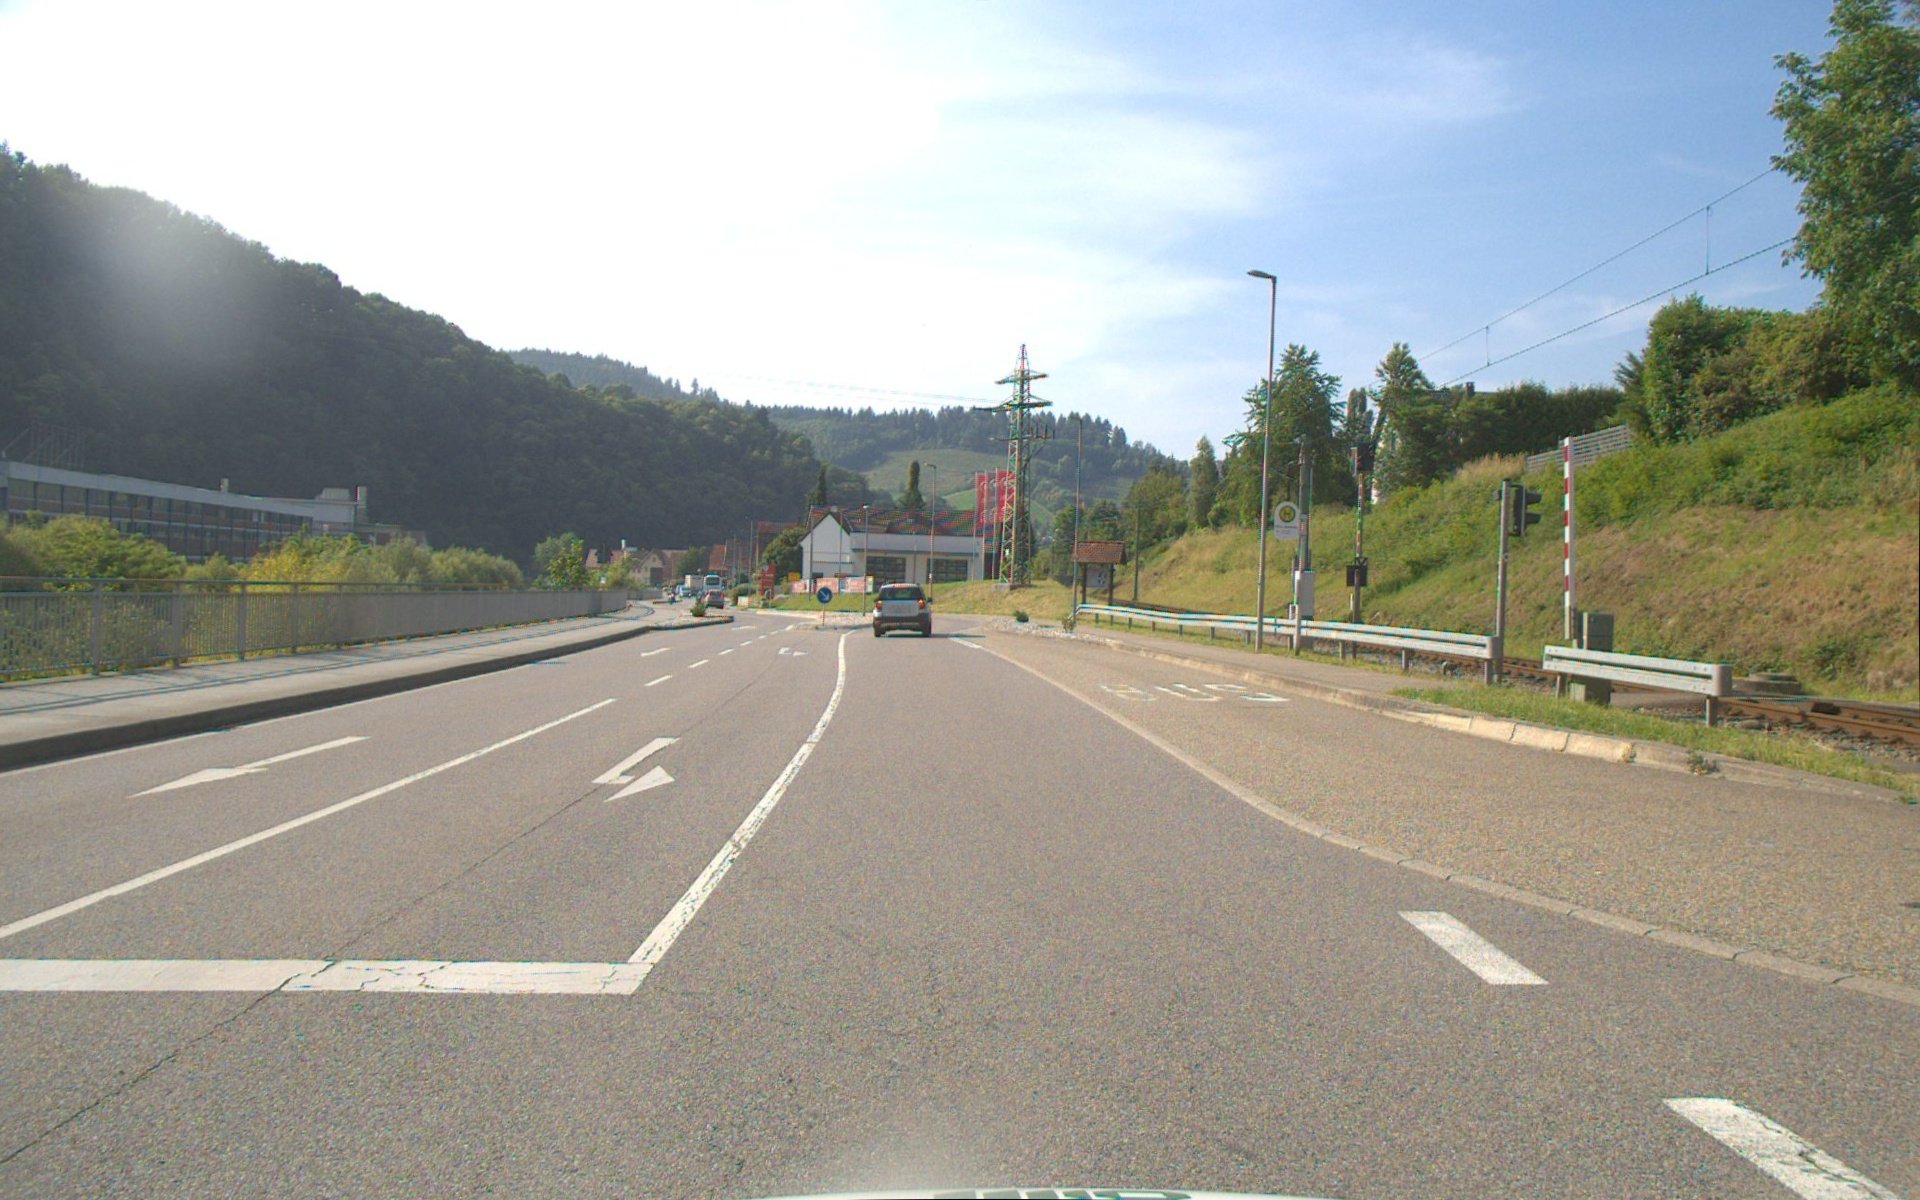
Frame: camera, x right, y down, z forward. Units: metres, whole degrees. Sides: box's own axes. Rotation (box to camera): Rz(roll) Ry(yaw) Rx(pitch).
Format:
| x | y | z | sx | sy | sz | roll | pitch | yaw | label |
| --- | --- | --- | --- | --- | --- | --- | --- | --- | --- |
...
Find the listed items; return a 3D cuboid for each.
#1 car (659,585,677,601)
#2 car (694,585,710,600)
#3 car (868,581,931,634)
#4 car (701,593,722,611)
| x | y | z | sx | sy | sz | roll | pitch | yaw | label |
| --- | --- | --- | --- | --- | --- | --- | --- | --- | --- |
| -30.733 | -0.750 | 174.026 | 1.637 | 1.577 | 3.698 | 2 | 1 | -8 | car |
| -26.963 | -0.775 | 172.722 | 1.215 | 1.460 | 2.625 | -1 | 1 | -20 | car |
| -1.993 | 0.226 | 53.102 | 1.824 | 1.571 | 4.369 | 2 | 0 | -4 | car |
| -22.044 | 0.208 | 146.711 | 1.430 | 1.460 | 2.924 | 2 | 1 | -15 | car |
